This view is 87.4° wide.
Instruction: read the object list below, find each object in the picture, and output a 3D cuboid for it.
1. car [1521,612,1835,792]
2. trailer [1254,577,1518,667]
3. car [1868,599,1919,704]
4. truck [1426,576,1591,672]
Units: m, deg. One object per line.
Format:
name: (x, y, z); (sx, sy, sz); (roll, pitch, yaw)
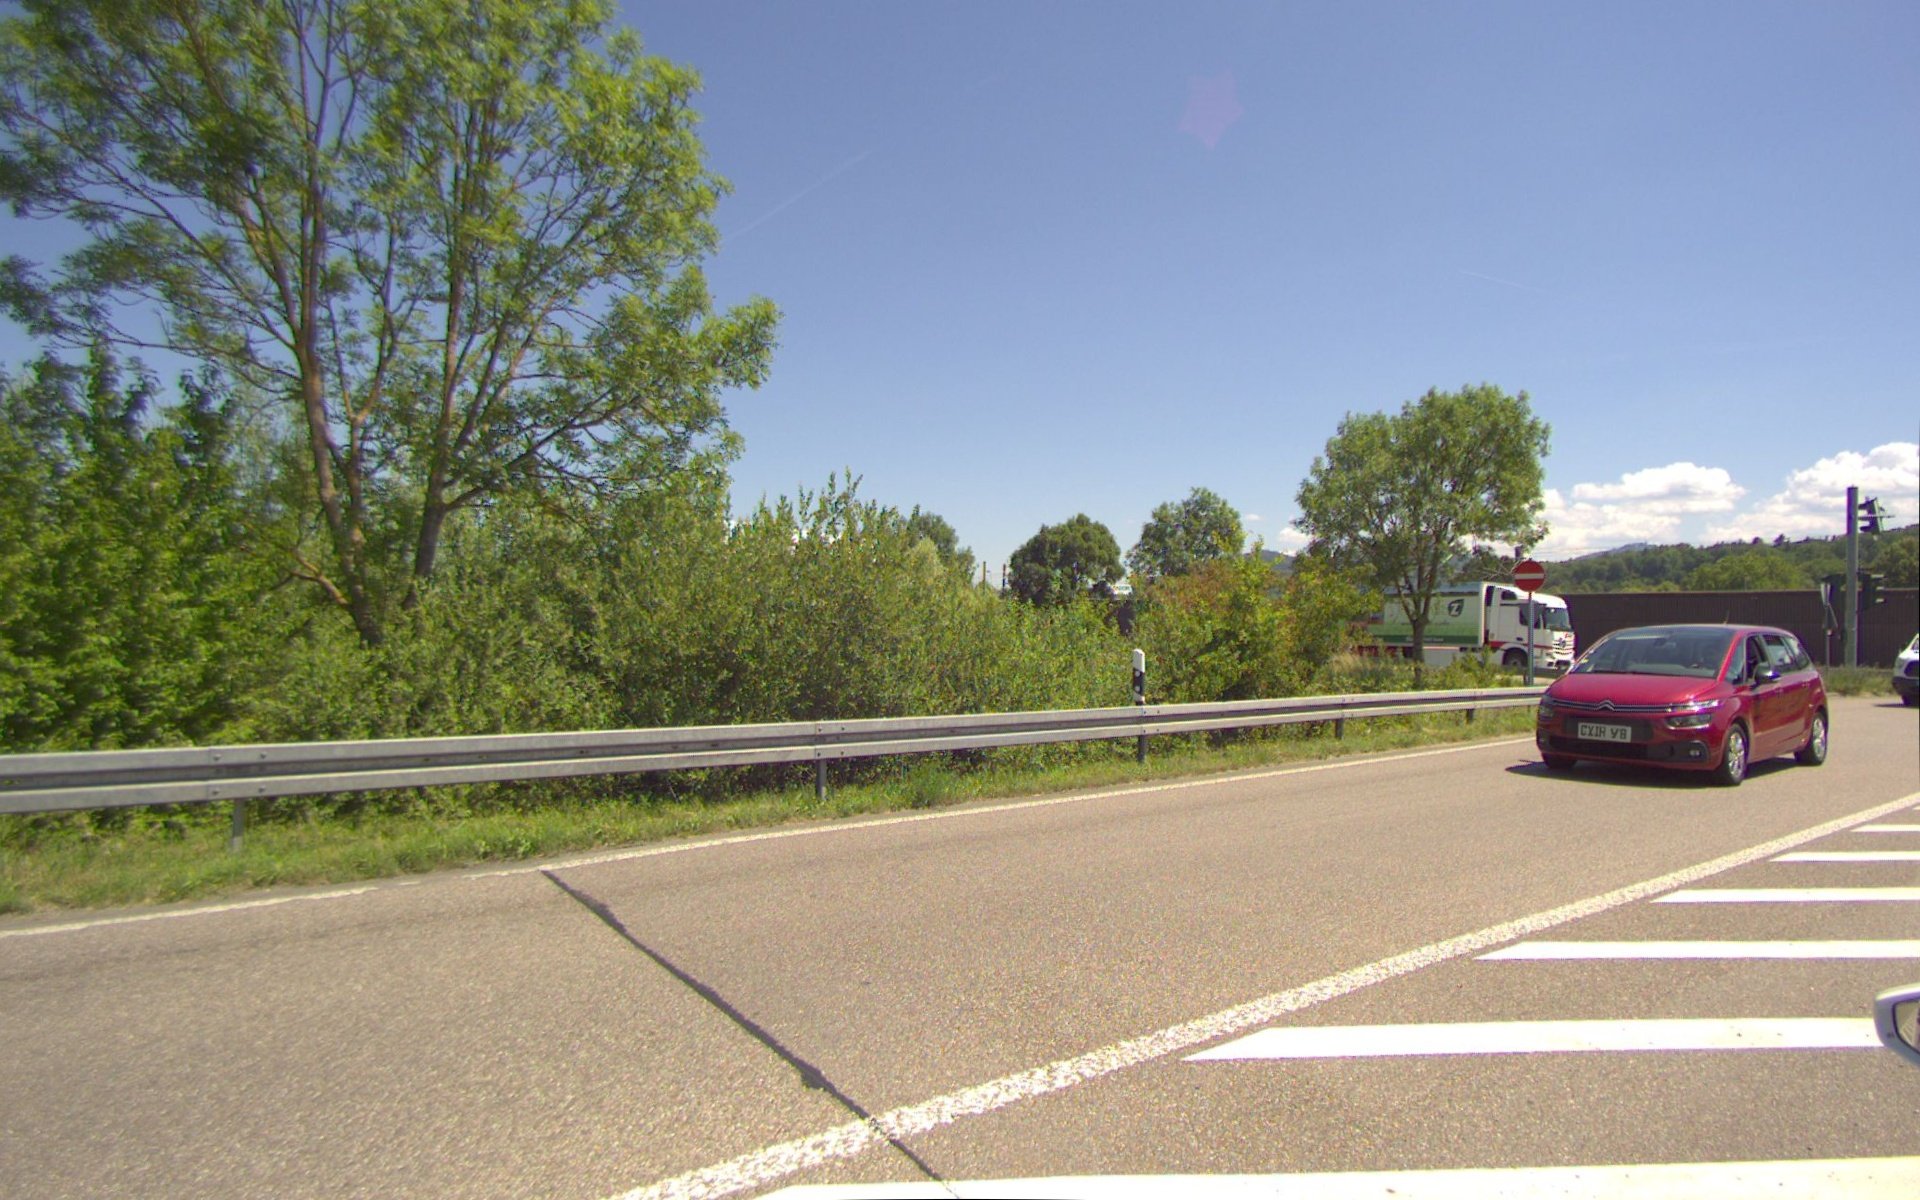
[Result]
car: (8.305, 1.053, 11.502); (4.169, 1.708, 1.724); (2, -3, -36)
trailer: (20.954, 1.041, 50.901); (3.027, 4.007, 13.074); (2, -1, -31)
car: (24.921, 1.241, 24.238); (5.501, 2.448, 1.993); (1, -2, -18)
truck: (24.441, 1.039, 45.012); (3.027, 4.007, 5.736); (2, -1, -31)
